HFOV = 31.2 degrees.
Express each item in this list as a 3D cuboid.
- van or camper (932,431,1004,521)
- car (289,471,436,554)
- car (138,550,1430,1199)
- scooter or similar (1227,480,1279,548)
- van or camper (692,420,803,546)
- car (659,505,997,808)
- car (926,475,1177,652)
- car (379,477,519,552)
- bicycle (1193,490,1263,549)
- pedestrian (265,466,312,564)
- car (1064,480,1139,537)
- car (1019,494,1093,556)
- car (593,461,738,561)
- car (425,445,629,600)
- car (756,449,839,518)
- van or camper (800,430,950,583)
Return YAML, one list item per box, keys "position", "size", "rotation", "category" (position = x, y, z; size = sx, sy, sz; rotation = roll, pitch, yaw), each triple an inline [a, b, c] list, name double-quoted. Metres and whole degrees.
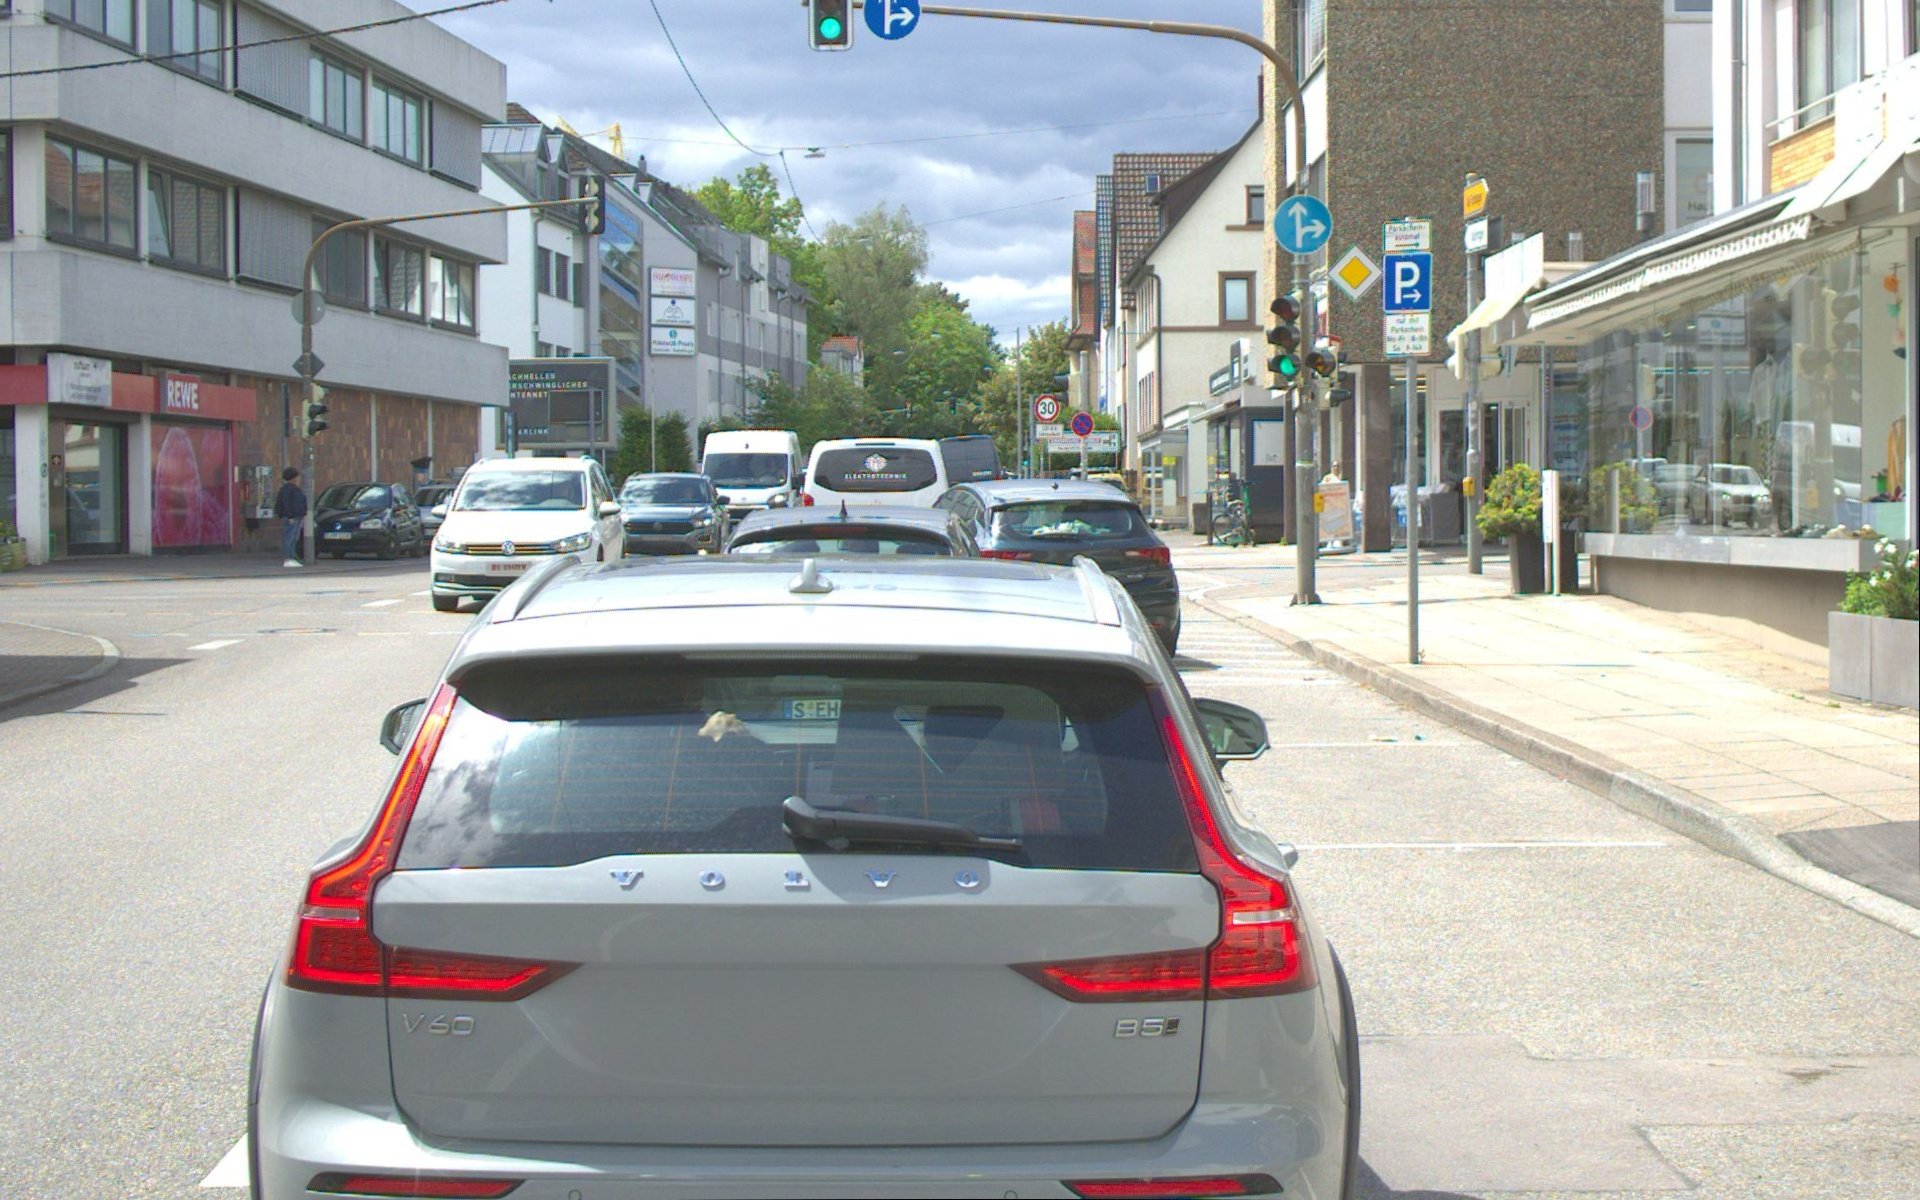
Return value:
- position: [0.280, -3.798, 105.460]
  size: [2.123, 2.677, 4.781]
  rotation: [-1, 2, 1]
  category: "van or camper"
- position: [-11.175, -1.651, 64.529]
  size: [1.785, 1.459, 4.086]
  rotation: [1, 2, 4]
  category: "car"
- position: [-0.271, 0.648, 6.898]
  size: [1.836, 1.481, 4.000]
  rotation: [0, 1, -1]
  category: "car"
- position: [5.591, -1.639, 65.587]
  size: [0.340, 1.249, 1.246]
  rotation: [-3, 2, -26]
  category: "scooter or similar"
- position: [-4.481, -2.529, 73.219]
  size: [2.148, 2.547, 5.439]
  rotation: [-1, 3, -2]
  category: "van or camper"
- position: [-0.669, 0.230, 18.731]
  size: [1.650, 1.477, 3.608]
  rotation: [0, 2, -1]
  category: "car"
- position: [0.675, -0.313, 27.987]
  size: [1.807, 1.342, 3.718]
  rotation: [0, 1, -2]
  category: "car"
- position: [-10.406, -1.773, 70.321]
  size: [1.904, 1.438, 4.443]
  rotation: [1, 2, 4]
  category: "car"
- position: [5.344, -1.622, 68.765]
  size: [0.554, 1.140, 2.301]
  rotation: [-2, 2, -18]
  category: "bicycle"
- position: [-11.239, -1.426, 57.535]
  size: [0.619, 1.635, 0.660]
  rotation: [-1, 2, 1]
  category: "pedestrian"
- position: [3.838, -2.484, 93.796]
  size: [1.710, 1.459, 4.000]
  rotation: [0, 1, -2]
  category: "car"
- position: [2.014, -1.585, 72.584]
  size: [1.438, 1.283, 3.248]
  rotation: [0, 1, -1]
  category: "car"
- position: [-4.578, -1.383, 53.842]
  size: [1.791, 1.506, 3.845]
  rotation: [0, 1, 2]
  category: "car"
- position: [-4.728, -0.851, 38.044]
  size: [1.775, 1.607, 4.120]
  rotation: [0, 1, -1]
  category: "car"
- position: [-4.043, -2.938, 86.116]
  size: [1.780, 1.634, 4.221]
  rotation: [-2, 2, 1]
  category: "car"
- position: [-1.054, -1.147, 43.716]
  size: [1.819, 1.828, 4.000]
  rotation: [0, 0, -1]
  category: "van or camper"
